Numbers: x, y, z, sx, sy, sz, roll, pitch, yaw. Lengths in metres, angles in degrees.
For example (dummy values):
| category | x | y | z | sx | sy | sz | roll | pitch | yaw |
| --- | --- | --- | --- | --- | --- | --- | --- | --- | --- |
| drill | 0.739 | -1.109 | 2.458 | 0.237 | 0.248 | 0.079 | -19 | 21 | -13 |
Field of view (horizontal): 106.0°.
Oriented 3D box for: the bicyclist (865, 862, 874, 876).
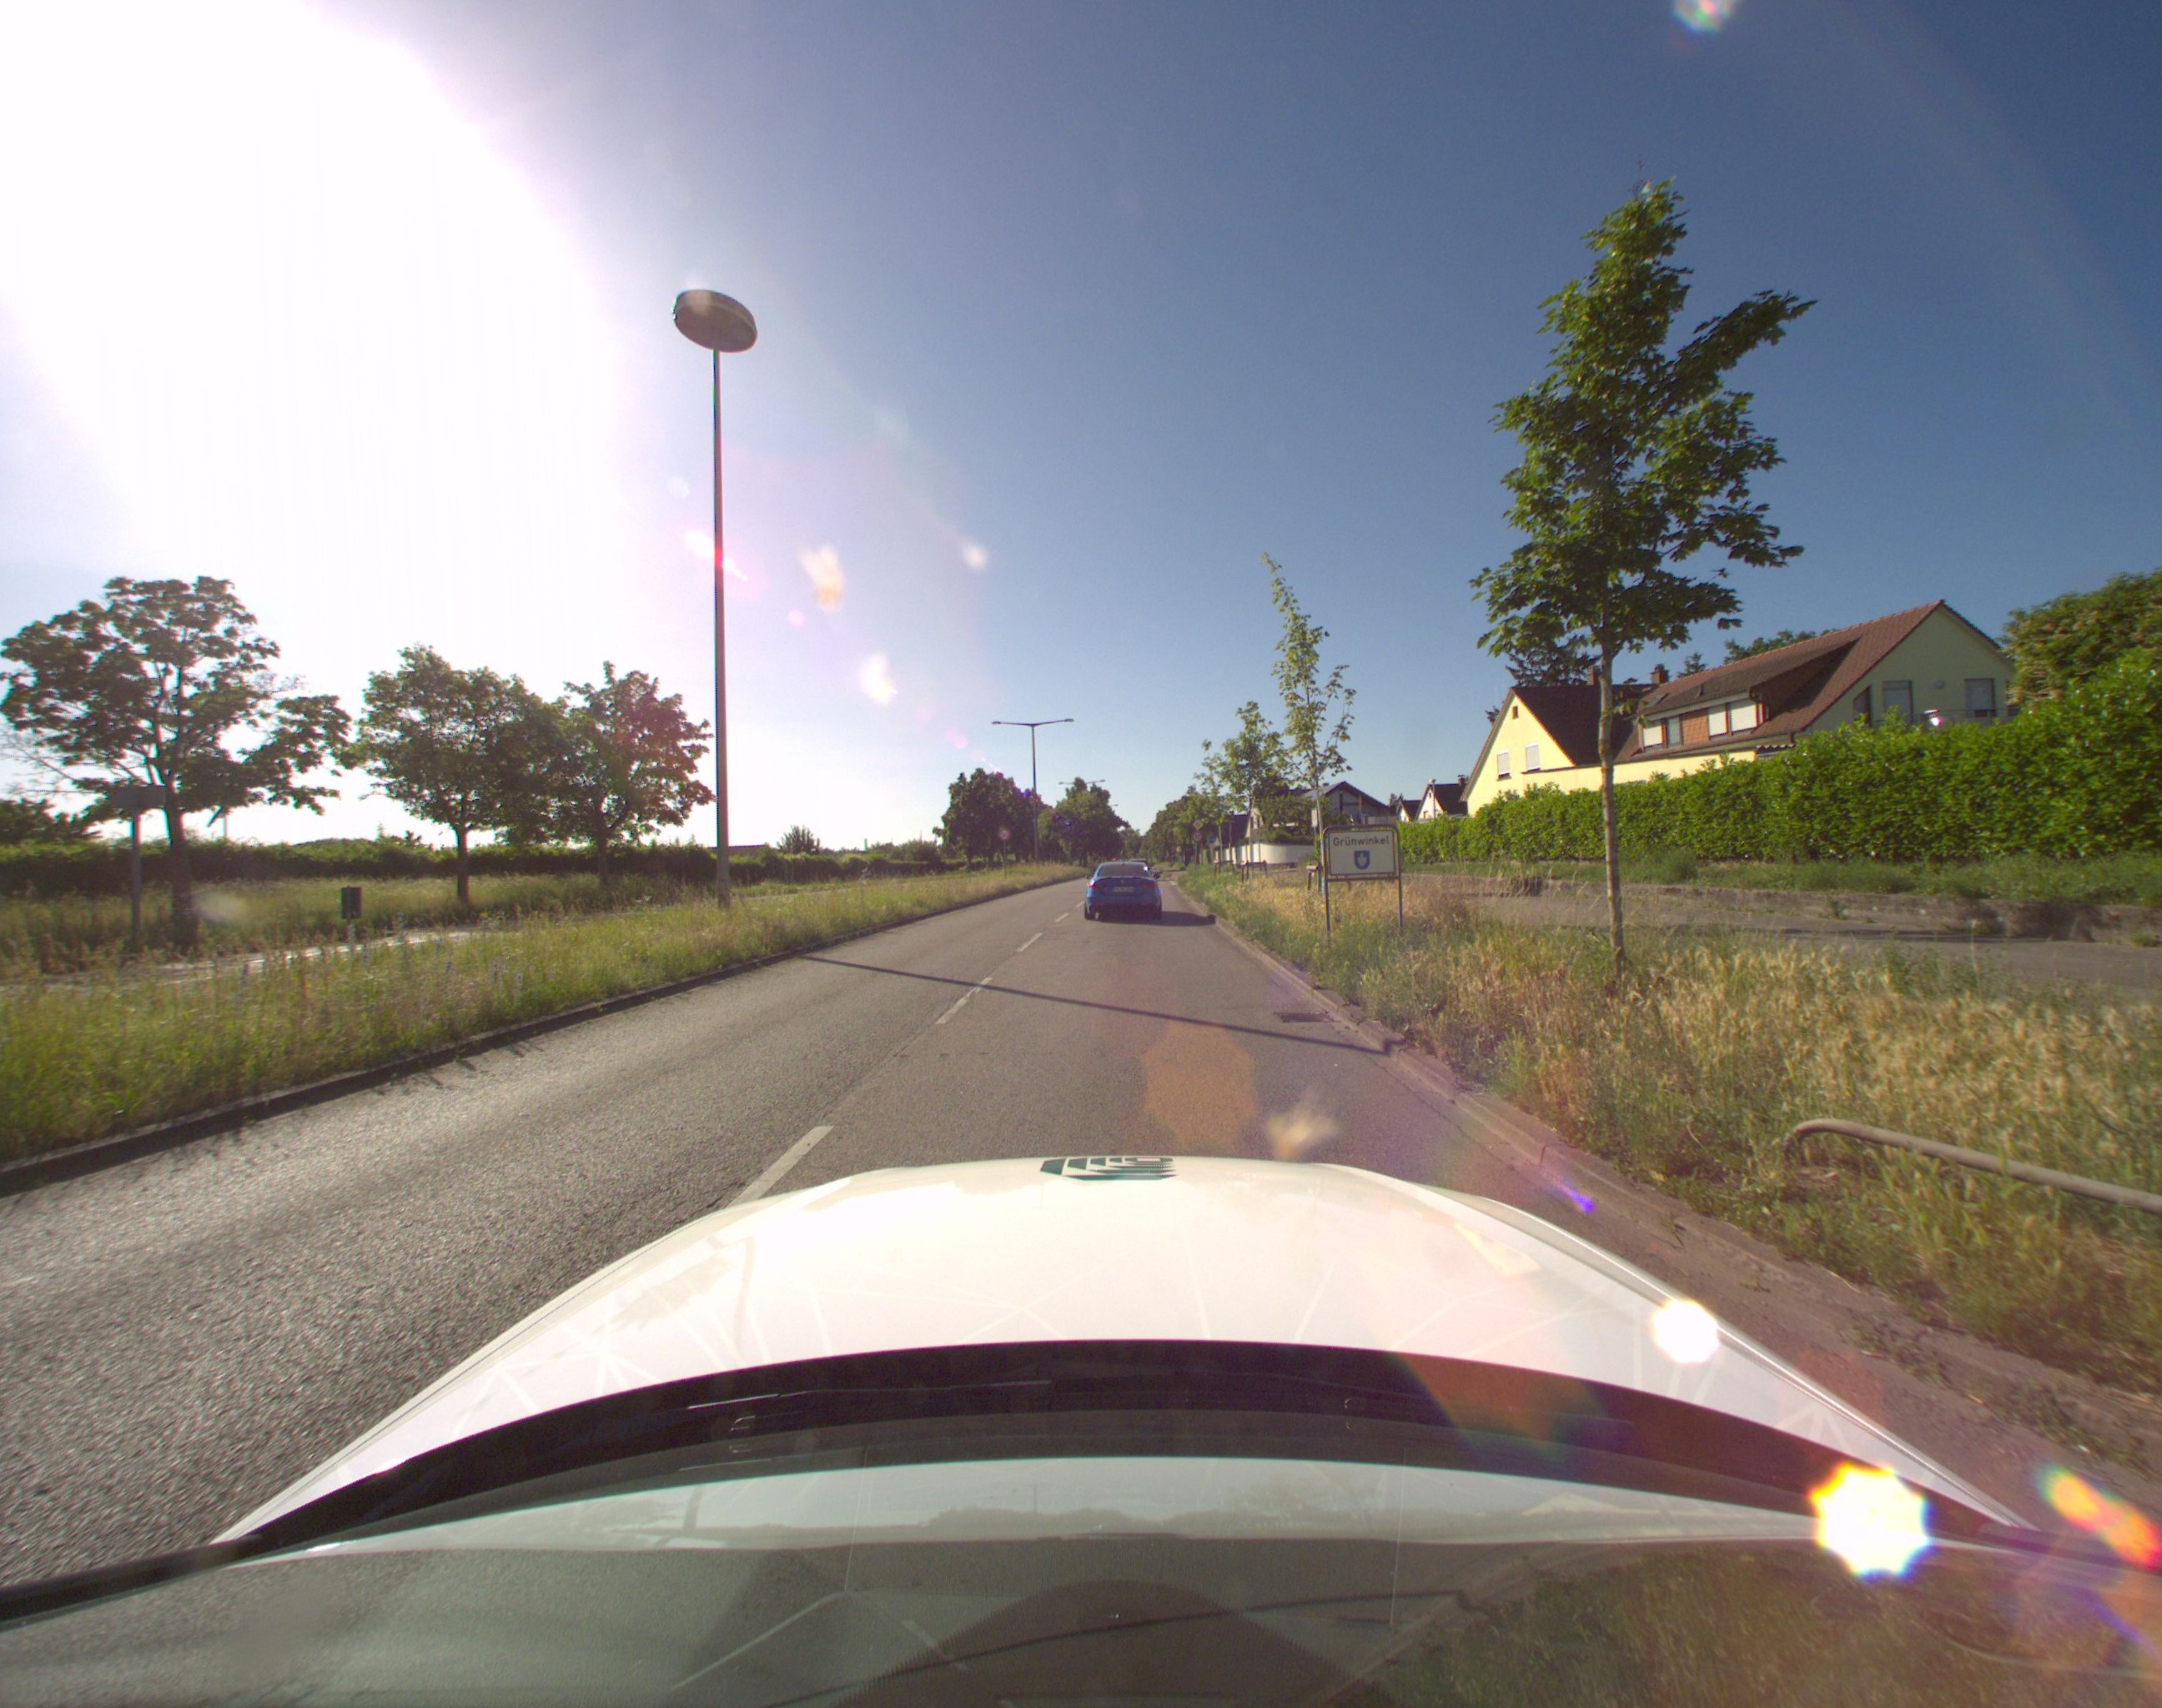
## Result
| category | x | y | z | sx | sy | sz | roll | pitch | yaw |
| --- | --- | --- | --- | --- | --- | --- | --- | --- | --- |
| bicyclist | -19.068 | 1.369 | 73.544 | 0.579 | 1.257 | 0.578 | -1 | -1 | 11 |

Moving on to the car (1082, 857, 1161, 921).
| category | x | y | z | sx | sy | sz | roll | pitch | yaw |
| --- | --- | --- | --- | --- | --- | --- | --- | --- | --- |
| car | 1.097 | 0.845 | 21.278 | 1.830 | 1.474 | 4.189 | -1 | -1 | 4 |

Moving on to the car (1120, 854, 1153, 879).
| category | x | y | z | sx | sy | sz | roll | pitch | yaw |
| --- | --- | --- | --- | --- | --- | --- | --- | --- | --- |
| car | 3.681 | 0.806 | 54.666 | 1.909 | 1.579 | 4.182 | -1 | 0 | 0 |

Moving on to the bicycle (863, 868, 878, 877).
| category | x | y | z | sx | sy | sz | roll | pitch | yaw |
| --- | --- | --- | --- | --- | --- | --- | --- | --- | --- |
| bicycle | -19.027 | 1.672 | 73.672 | 0.561 | 0.695 | 1.881 | -1 | 0 | 11 |

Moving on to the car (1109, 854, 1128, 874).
| category | x | y | z | sx | sy | sz | roll | pitch | yaw |
| --- | --- | --- | --- | --- | --- | --- | --- | --- | --- |
| car | 3.871 | 1.000 | 84.008 | 1.785 | 2.014 | 4.004 | -1 | -1 | 4 |
